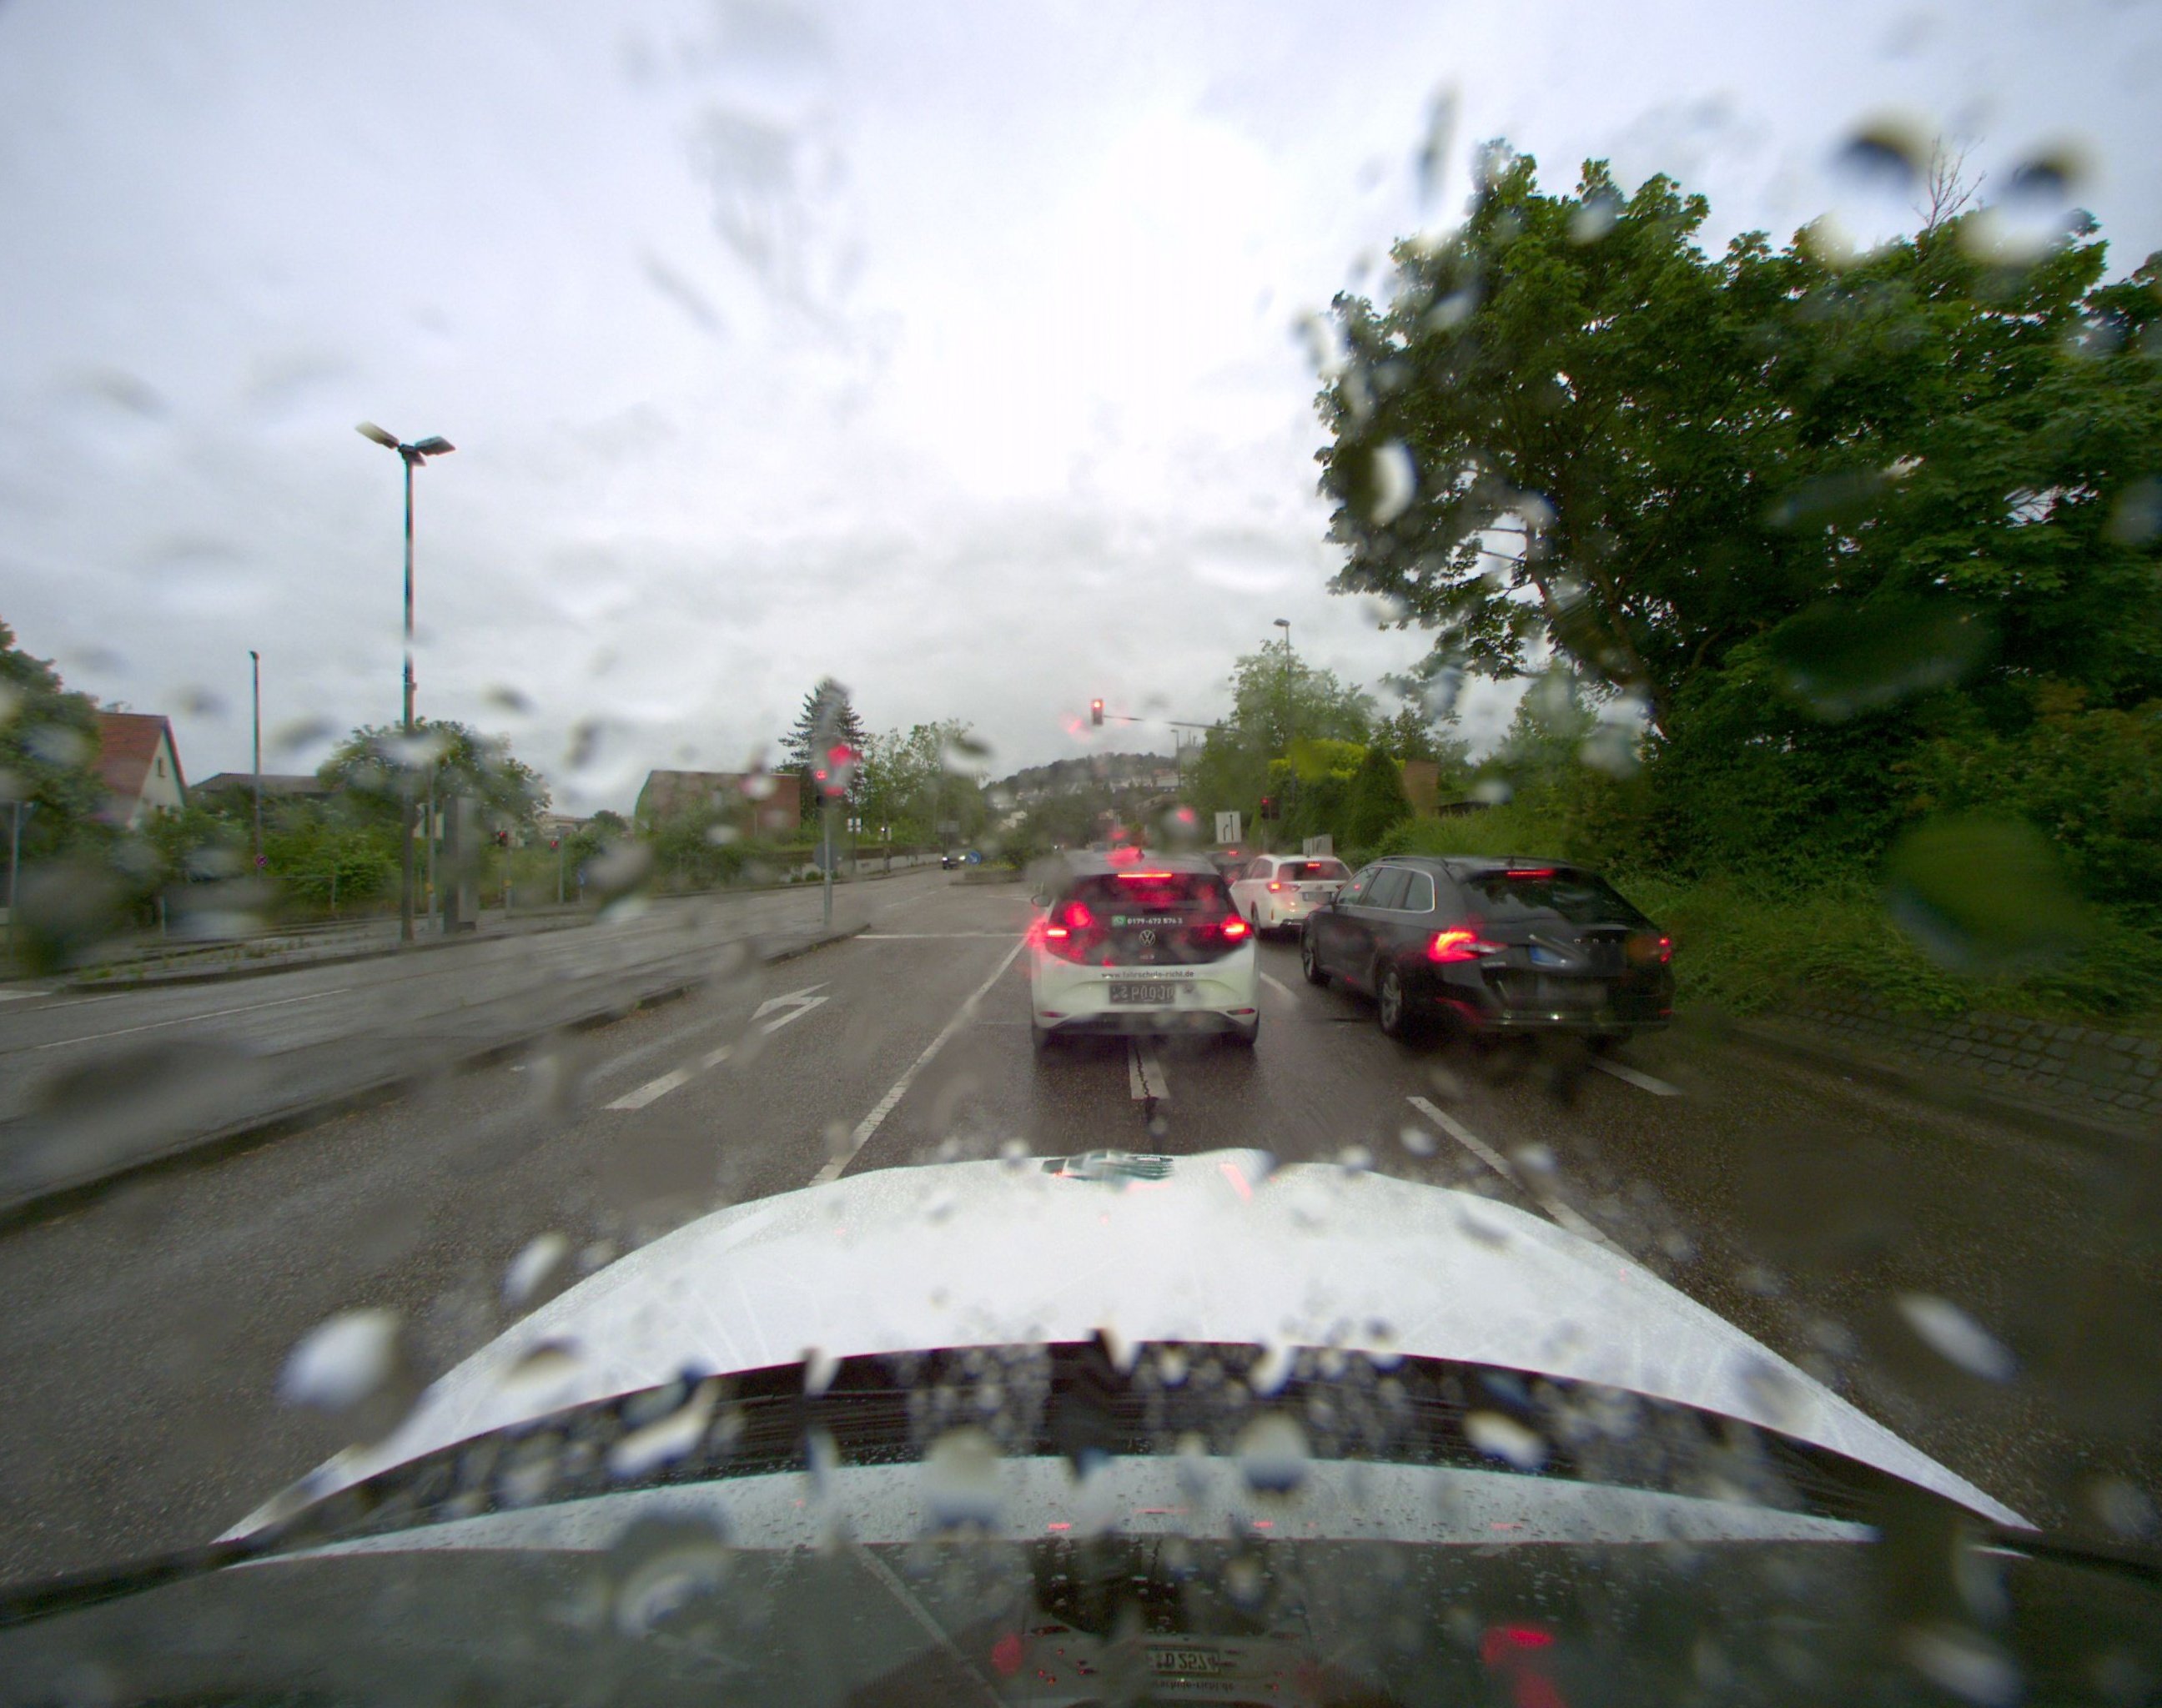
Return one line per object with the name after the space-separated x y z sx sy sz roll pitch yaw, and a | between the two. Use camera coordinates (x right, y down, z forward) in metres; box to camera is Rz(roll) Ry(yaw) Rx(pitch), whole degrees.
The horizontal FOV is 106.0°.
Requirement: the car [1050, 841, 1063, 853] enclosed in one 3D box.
-4.188 -1.243 140.734 1.986 2.014 4.002 -1 -1 2 | car

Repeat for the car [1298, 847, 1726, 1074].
3.369 0.671 7.462 1.830 1.466 4.353 0 0 3 | car

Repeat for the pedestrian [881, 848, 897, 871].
-13.289 0.378 56.430 0.757 1.568 0.825 -4 0 1 | pedestrian

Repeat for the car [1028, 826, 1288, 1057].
0.597 0.601 8.047 1.831 1.629 4.617 0 0 1 | car

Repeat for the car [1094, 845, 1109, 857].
2.677 -0.437 106.982 1.755 1.418 3.748 -3 0 0 | car

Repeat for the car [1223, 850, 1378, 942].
3.853 0.653 15.002 1.831 1.466 4.118 0 0 1 | car

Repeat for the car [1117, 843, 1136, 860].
4.138 -0.232 74.865 1.575 1.467 4.000 -3 -1 1 | car

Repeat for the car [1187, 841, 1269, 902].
4.121 0.475 23.353 1.769 1.581 4.002 0 0 2 | car

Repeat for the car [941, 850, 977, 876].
-9.435 0.660 63.352 1.986 1.804 4.002 -4 0 2 | car

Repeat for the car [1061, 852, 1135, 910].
0.466 0.668 22.125 1.831 1.400 3.832 0 0 1 | car

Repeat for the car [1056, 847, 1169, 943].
0.560 0.651 15.296 1.831 1.555 4.176 0 0 1 | car
